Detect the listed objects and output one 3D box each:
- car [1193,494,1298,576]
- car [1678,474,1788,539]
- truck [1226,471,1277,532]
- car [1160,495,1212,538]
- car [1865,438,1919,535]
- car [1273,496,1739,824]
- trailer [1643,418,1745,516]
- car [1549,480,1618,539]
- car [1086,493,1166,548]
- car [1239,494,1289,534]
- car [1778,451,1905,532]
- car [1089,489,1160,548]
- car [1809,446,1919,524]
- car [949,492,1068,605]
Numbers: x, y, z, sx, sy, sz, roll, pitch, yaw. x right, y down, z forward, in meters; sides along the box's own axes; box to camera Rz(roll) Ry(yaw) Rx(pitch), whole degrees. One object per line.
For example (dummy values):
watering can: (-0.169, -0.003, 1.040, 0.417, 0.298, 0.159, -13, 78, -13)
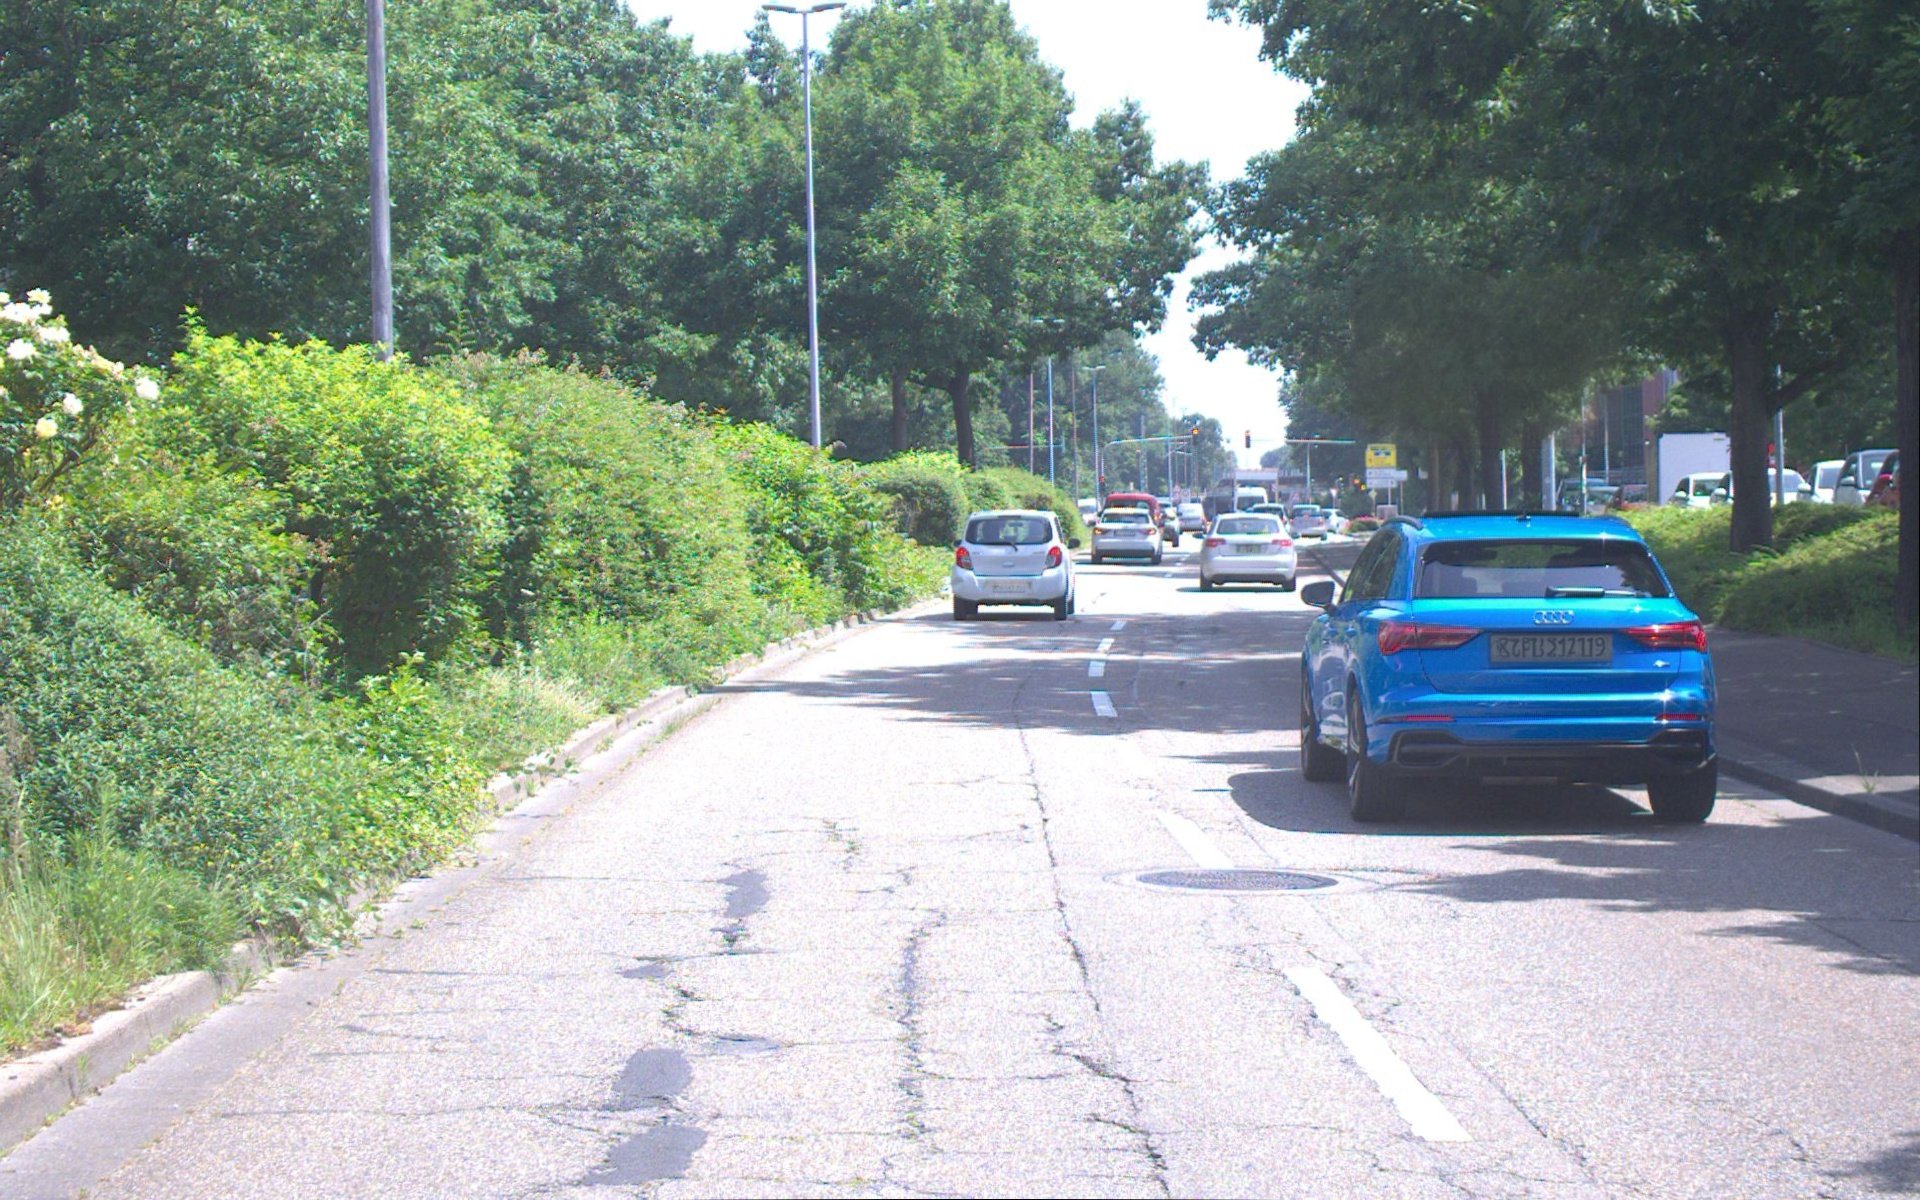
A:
car: (5.239, -1.180, 63.200, 1.866, 1.468, 3.999, 0, 1, 5)
car: (15.632, -1.873, 69.646, 1.619, 1.248, 3.630, 0, 1, 4)
truck: (17.299, -5.817, 203.970, 2.932, 3.490, 9.156, -1, 1, 5)
car: (7.462, -2.755, 113.633, 1.487, 1.387, 3.307, 0, 1, 0)
car: (13.585, -1.545, 47.584, 1.619, 1.248, 3.762, 0, 1, 8)
car: (2.848, 0.269, 18.848, 1.808, 1.587, 4.349, 0, 1, -1)
trailer: (15.980, -2.871, 75.019, 1.701, 2.048, 5.482, 0, 1, 7)
car: (18.070, -2.618, 99.803, 1.701, 1.632, 3.904, 0, 1, 6)
car: (4.240, -2.007, 87.361, 1.885, 1.349, 3.999, 0, 1, 5)
car: (10.990, -3.099, 124.326, 1.441, 1.343, 3.460, -2, 1, 0)
car: (14.597, -1.779, 57.074, 1.619, 1.248, 3.865, 0, 1, 8)
car: (4.809, -2.376, 100.261, 1.885, 1.603, 4.000, -2, 1, 5)
car: (13.834, -1.716, 51.814, 1.507, 1.118, 2.856, 0, 1, 3)
car: (0.696, -0.717, 48.885, 1.638, 1.547, 3.325, 0, 1, 1)
